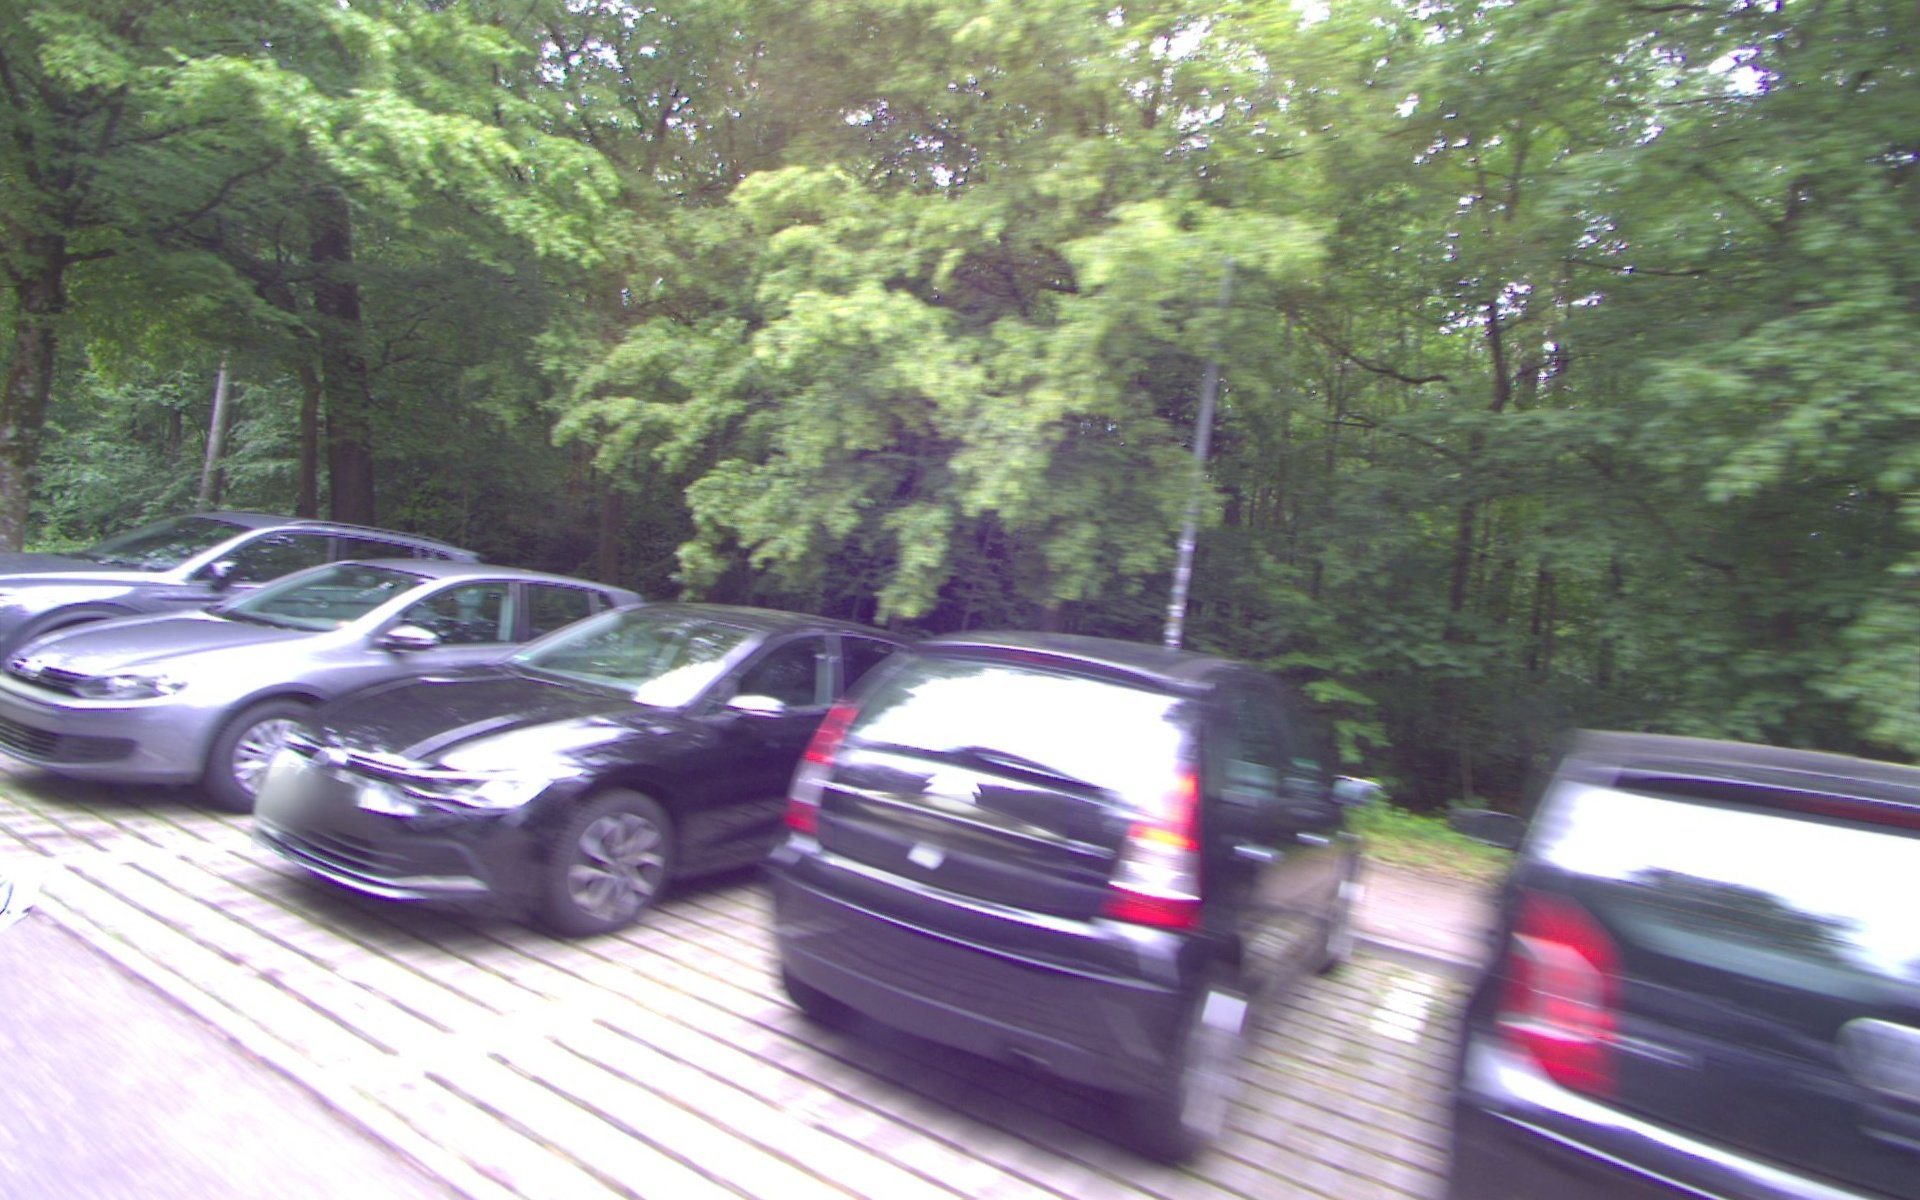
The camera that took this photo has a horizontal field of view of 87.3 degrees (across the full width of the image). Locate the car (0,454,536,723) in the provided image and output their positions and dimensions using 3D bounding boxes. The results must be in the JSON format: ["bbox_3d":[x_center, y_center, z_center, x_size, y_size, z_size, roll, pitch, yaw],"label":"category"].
[{"bbox_3d":[-6.032,0.006,8.254,1.925,1.685,4.276,7,-2,30],"label":"car"}]

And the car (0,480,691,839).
[{"bbox_3d":[-3.982,0.375,6.789,1.940,1.569,4.001,7,-2,24],"label":"car"}]

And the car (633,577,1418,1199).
[{"bbox_3d":[0.751,0.947,4.487,1.820,1.549,3.834,7,-1,31],"label":"car"}]

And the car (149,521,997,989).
[{"bbox_3d":[-1.660,0.692,5.651,1.920,1.492,3.996,7,-2,31],"label":"car"}]

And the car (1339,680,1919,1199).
[{"bbox_3d":[2.576,1.159,3.268,1.779,1.474,3.833,6,-2,32],"label":"car"}]
